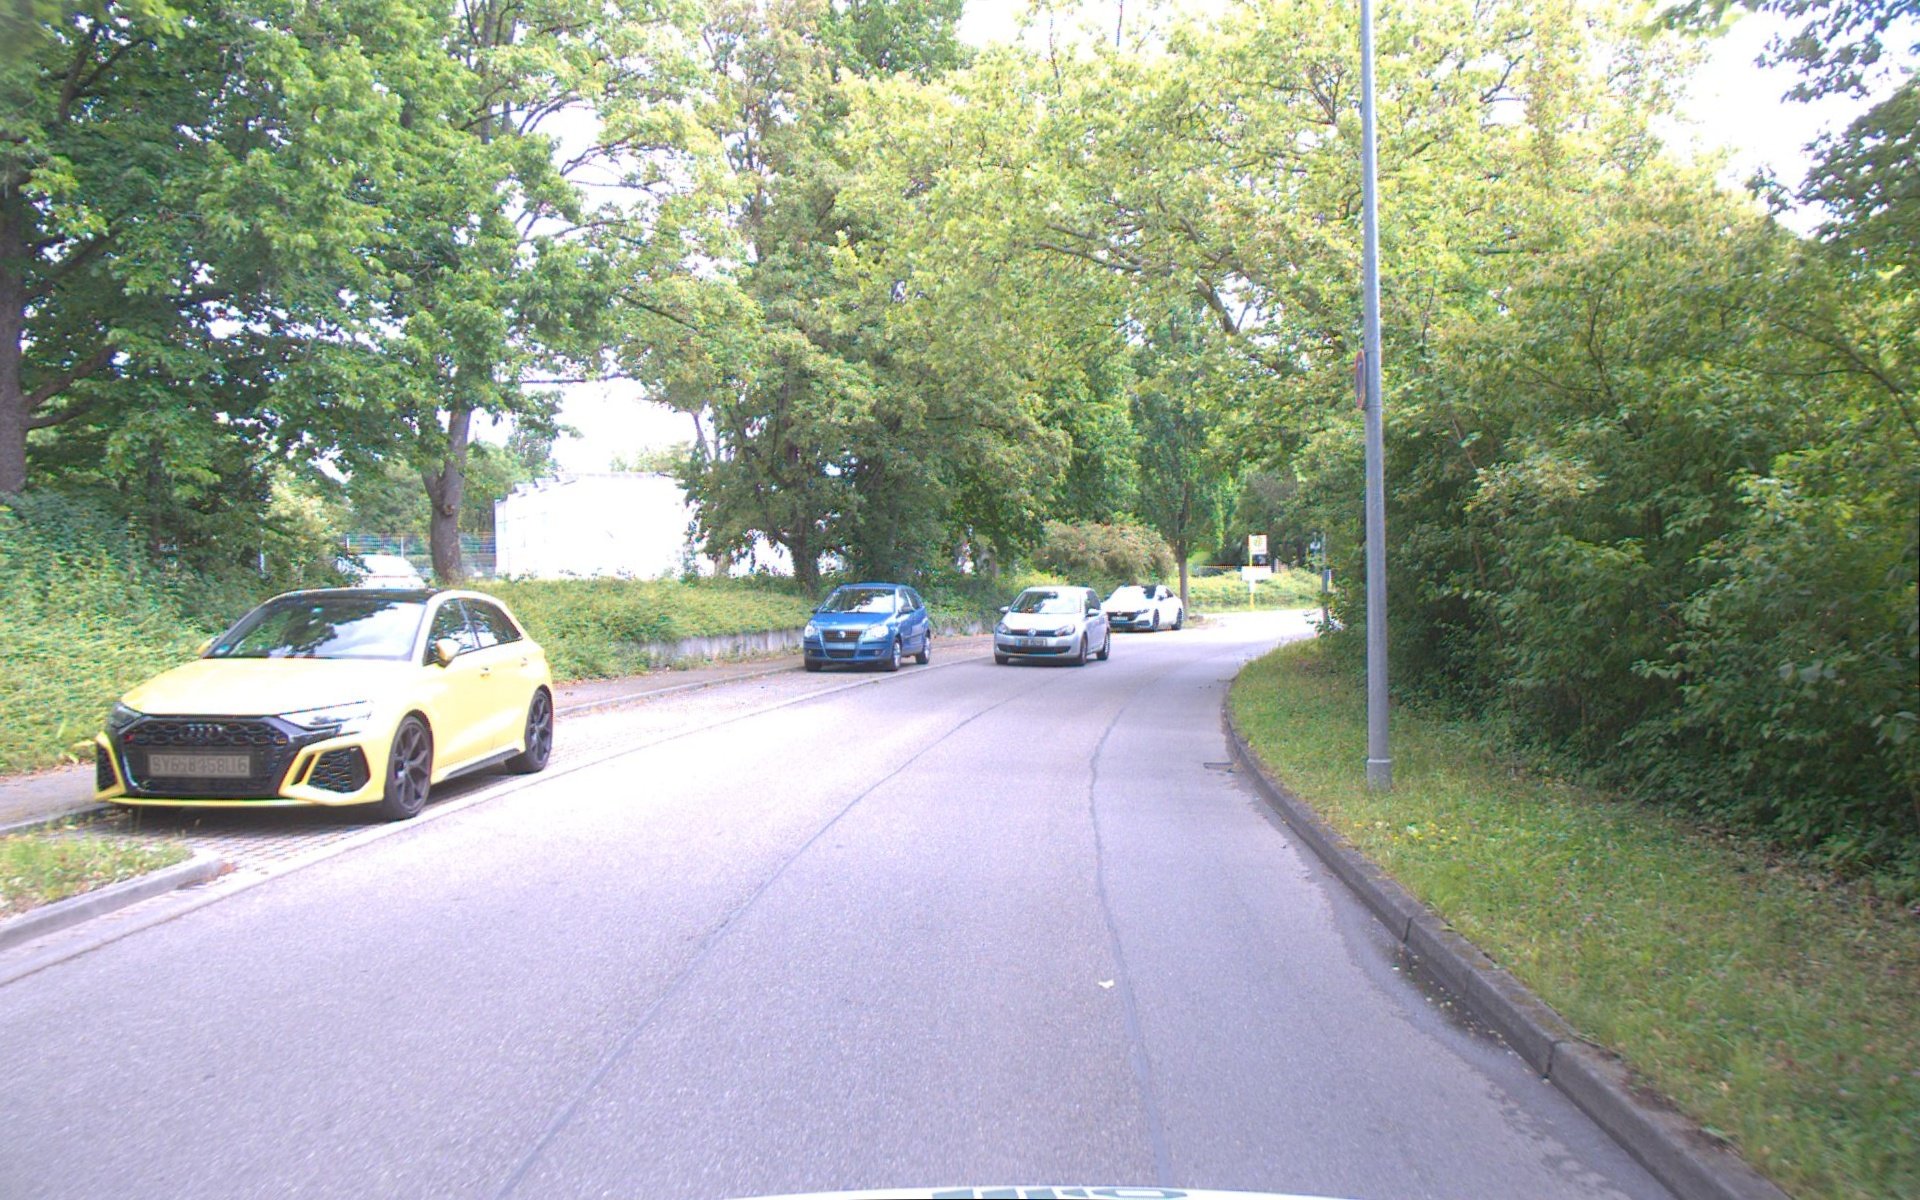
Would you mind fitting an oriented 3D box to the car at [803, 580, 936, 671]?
[{"bbox_3d":[-1.537,0.411,29.303,1.500,1.484,3.723,-1,1,10],"label":"car"}]

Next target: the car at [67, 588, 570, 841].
[{"bbox_3d":[-4.133,0.643,11.482,1.664,1.427,4.275,0,0,3],"label":"car"}]

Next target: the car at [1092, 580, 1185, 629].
[{"bbox_3d":[5.557,0.101,51.074,1.777,1.449,4.360,0,1,22],"label":"car"}]

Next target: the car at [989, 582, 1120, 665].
[{"bbox_3d":[1.933,0.410,32.536,1.641,1.488,4.064,1,1,17],"label":"car"}]

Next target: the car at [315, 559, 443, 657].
[{"bbox_3d":[-10.924,0.087,30.952,1.721,1.650,3.839,-2,2,-27],"label":"car"}]
